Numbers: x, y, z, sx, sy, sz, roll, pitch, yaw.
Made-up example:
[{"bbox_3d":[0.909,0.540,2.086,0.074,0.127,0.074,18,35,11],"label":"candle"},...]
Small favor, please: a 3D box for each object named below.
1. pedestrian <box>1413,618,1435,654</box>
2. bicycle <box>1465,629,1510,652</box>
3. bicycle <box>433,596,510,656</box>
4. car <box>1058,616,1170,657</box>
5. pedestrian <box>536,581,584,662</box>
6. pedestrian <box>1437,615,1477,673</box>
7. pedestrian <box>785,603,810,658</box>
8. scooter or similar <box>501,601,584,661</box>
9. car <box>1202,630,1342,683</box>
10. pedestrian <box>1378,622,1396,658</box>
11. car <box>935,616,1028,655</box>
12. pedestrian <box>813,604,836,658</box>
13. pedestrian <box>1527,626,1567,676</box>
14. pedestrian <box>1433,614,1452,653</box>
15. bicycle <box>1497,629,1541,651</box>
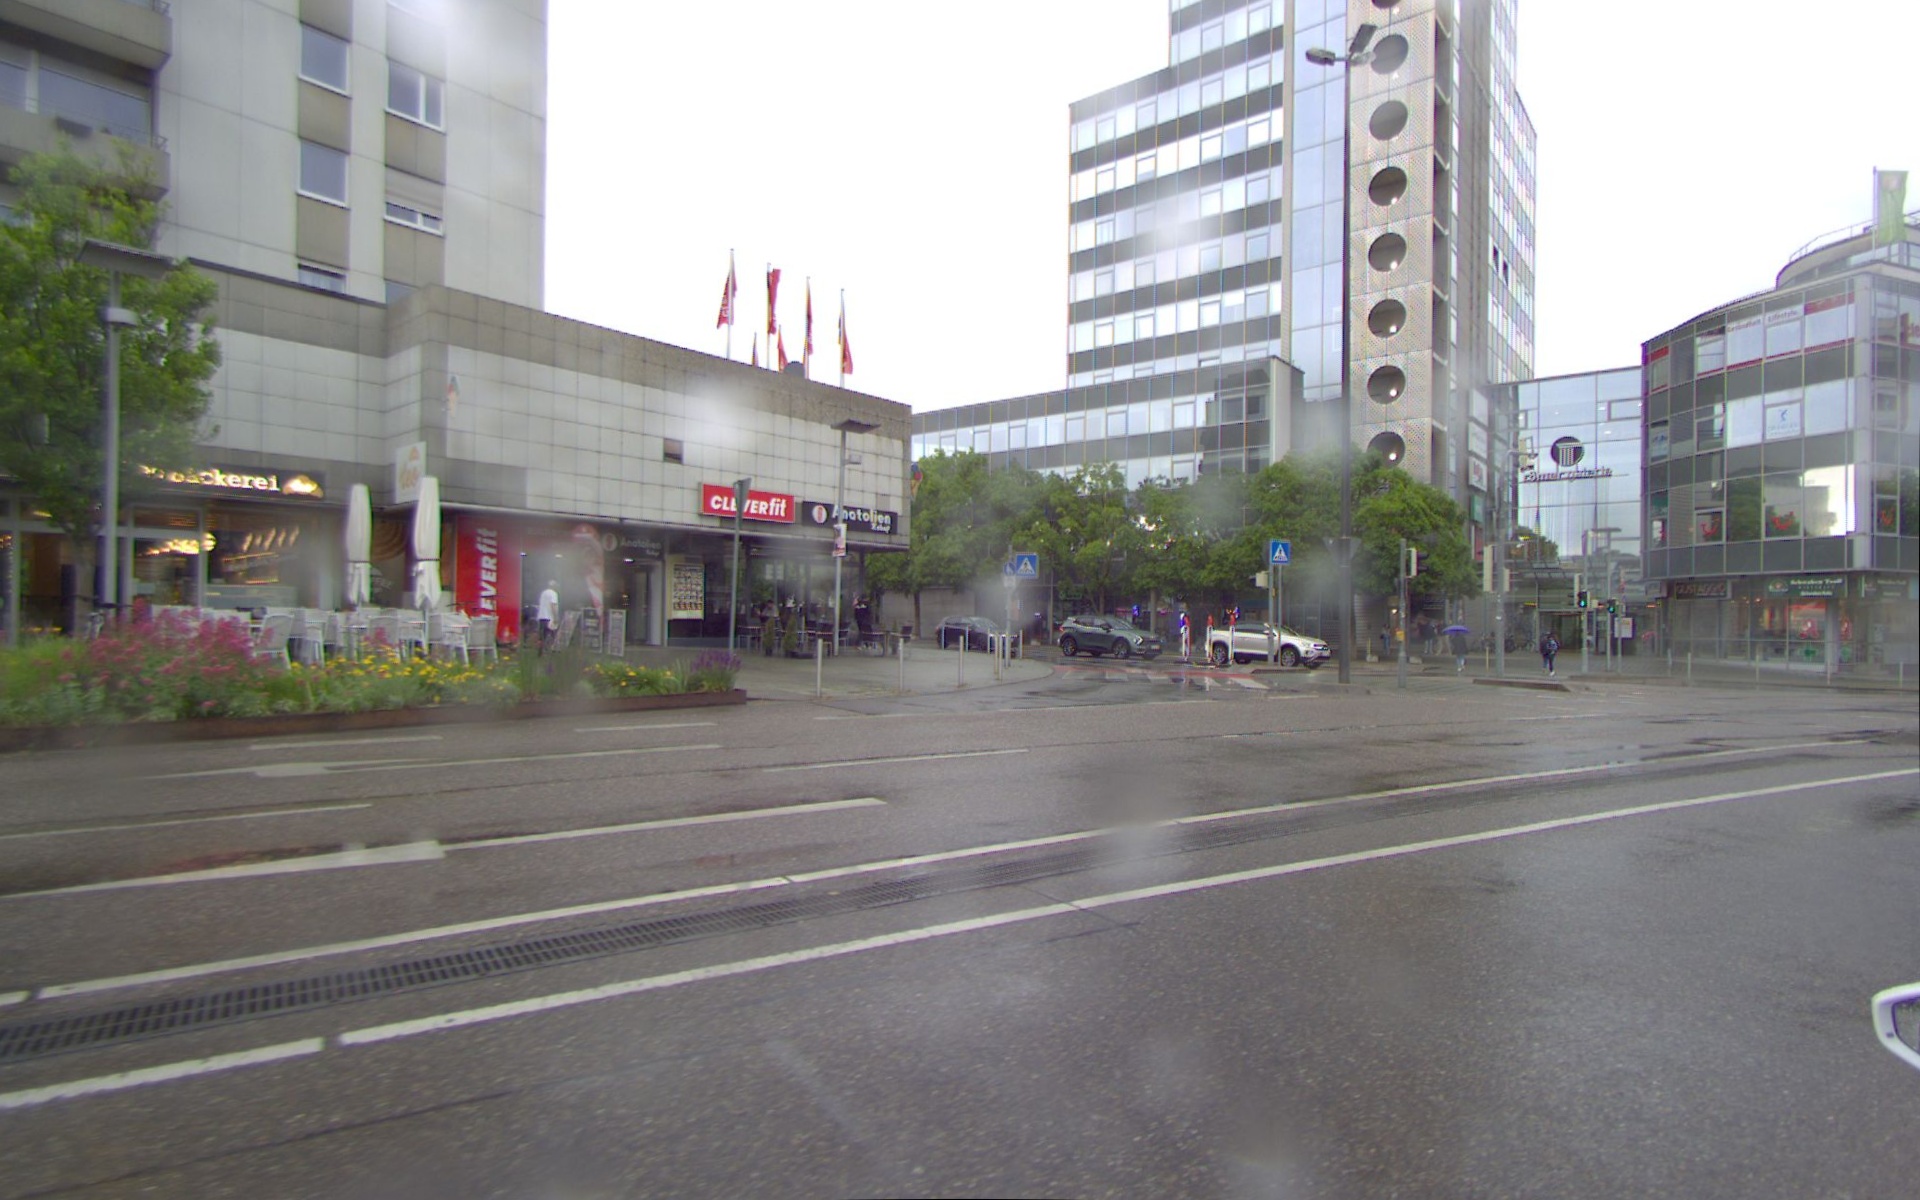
[{"bbox_3d":[24.844,1.936,53.815,0.745,1.892,0.826,1,-1,-31],"label":"pedestrian"},{"bbox_3d":[30.283,2.342,57.686,2.245,1.263,0.674,0,-2,39],"label":"bicycle"},{"bbox_3d":[-10.659,0.537,21.854,2.518,1.239,0.692,1,0,44],"label":"bicycle"},{"bbox_3d":[5.914,1.389,38.935,1.857,1.439,4.006,2,-1,-43],"label":"car"},{"bbox_3d":[-8.722,0.462,21.926,0.701,1.715,0.657,1,0,11],"label":"pedestrian"},{"bbox_3d":[18.063,1.577,36.480,1.146,2.040,1.325,1,-1,33],"label":"pedestrian"},{"bbox_3d":[-4.175,0.782,25.749,0.528,1.365,0.496,2,-1,-16],"label":"pedestrian"},{"bbox_3d":[-8.901,0.628,21.338,2.557,1.190,0.639,0,-1,43],"label":"scooter or similar"},{"bbox_3d":[10.492,1.857,33.905,4.146,1.616,1.860,0,-1,42],"label":"car"},{"bbox_3d":[23.206,2.166,54.620,0.738,1.892,0.834,0,-1,13],"label":"pedestrian"},{"bbox_3d":[0.907,1.535,44.228,1.857,1.616,3.949,1,-1,-43],"label":"car"},{"bbox_3d":[-3.497,0.790,25.935,0.528,1.365,0.496,1,0,-14],"label":"pedestrian"},{"bbox_3d":[22.202,1.921,37.986,1.008,1.843,0.845,1,-2,-19],"label":"pedestrian"},{"bbox_3d":[25.497,1.767,53.060,0.704,2.040,0.761,1,-1,42],"label":"pedestrian"},{"bbox_3d":[34.053,2.428,61.201,2.245,1.263,0.674,0,-2,39],"label":"bicycle"}]
